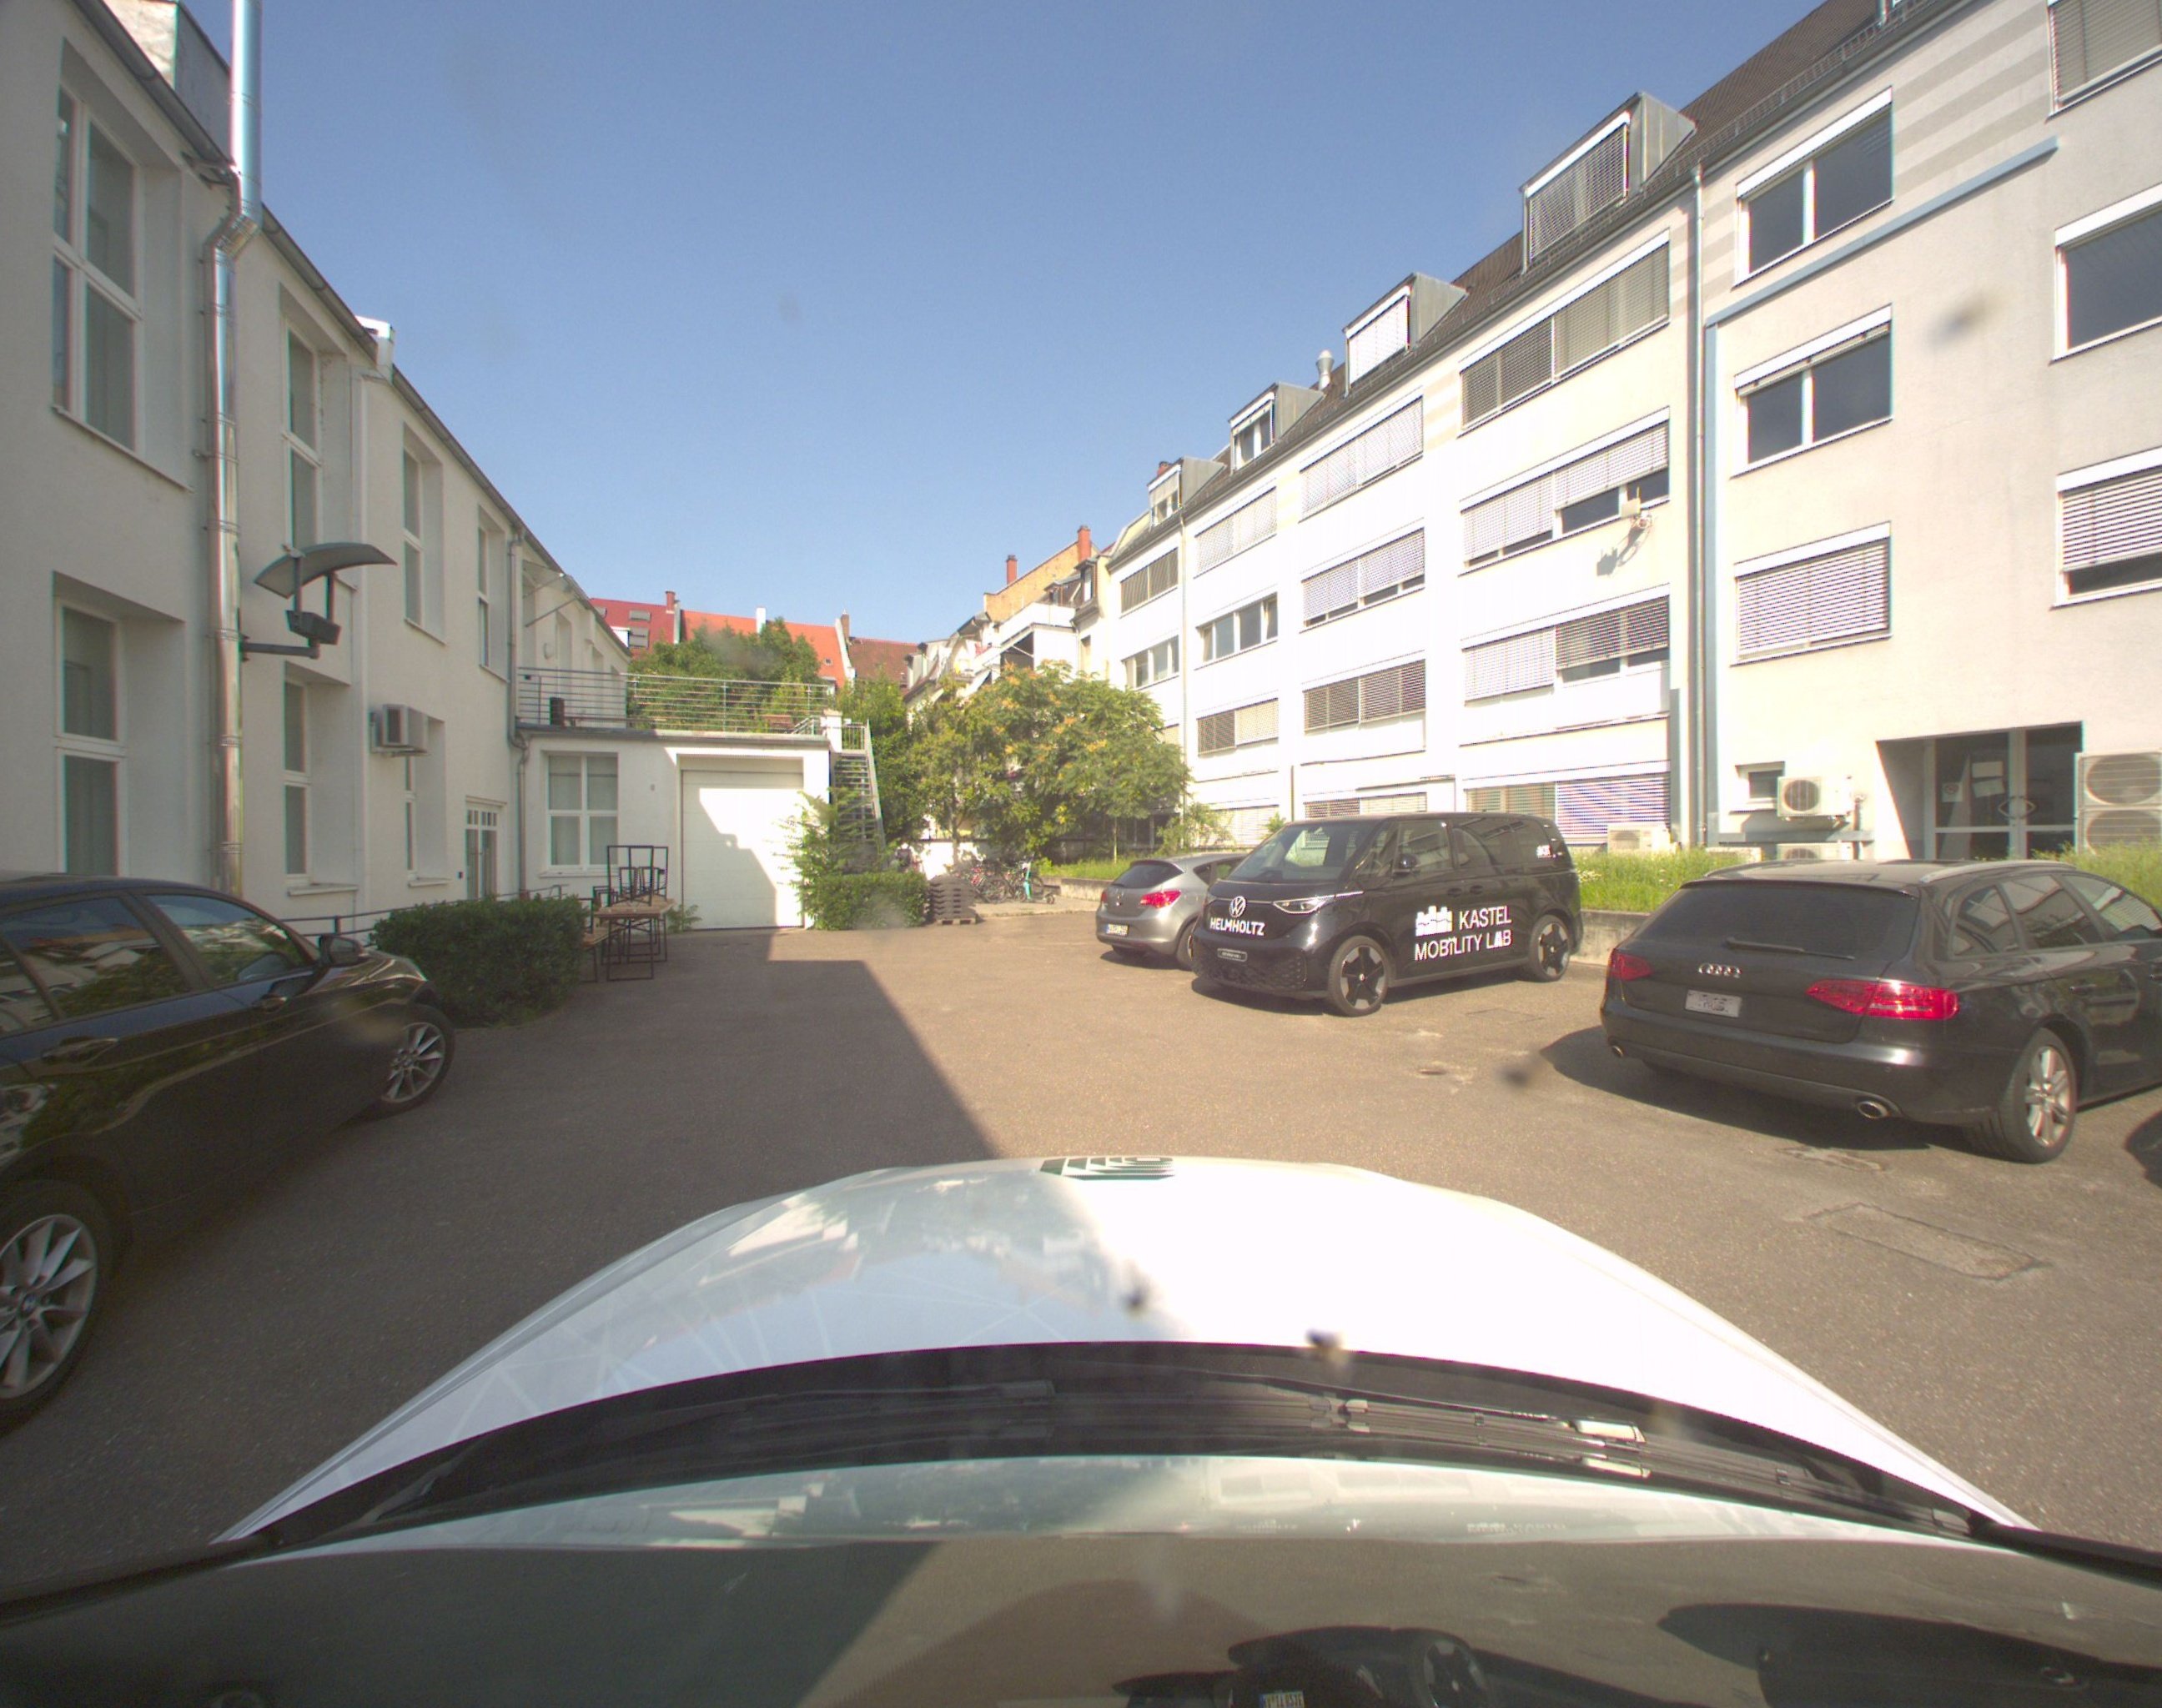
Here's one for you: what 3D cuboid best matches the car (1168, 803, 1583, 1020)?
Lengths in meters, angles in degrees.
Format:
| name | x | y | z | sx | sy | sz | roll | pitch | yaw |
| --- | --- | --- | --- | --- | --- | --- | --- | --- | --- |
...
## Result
| name | x | y | z | sx | sy | sz | roll | pitch | yaw |
| --- | --- | --- | --- | --- | --- | --- | --- | --- | --- |
| car | 3.279 | 0.445 | 8.881 | 4.362 | 1.858 | 1.896 | -1 | 1 | -30 |

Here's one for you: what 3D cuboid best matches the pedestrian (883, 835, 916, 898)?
| name | x | y | z | sx | sy | sz | roll | pitch | yaw |
| --- | --- | --- | --- | --- | --- | --- | --- | --- | --- |
| pedestrian | -5.201 | 0.340 | 23.341 | 0.861 | 1.771 | 0.607 | 0 | 0 | -19 |

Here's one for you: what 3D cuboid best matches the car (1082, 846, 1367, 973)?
| name | x | y | z | sx | sy | sz | roll | pitch | yaw |
| --- | --- | --- | --- | --- | --- | --- | --- | --- | --- |
| car | 2.098 | 0.646 | 11.494 | 3.924 | 1.466 | 1.645 | -1 | 1 | -34 |

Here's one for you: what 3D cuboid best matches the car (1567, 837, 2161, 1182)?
| name | x | y | z | sx | sy | sz | roll | pitch | yaw |
| --- | --- | --- | --- | --- | --- | --- | --- | --- | --- |
| car | 5.290 | 0.641 | 5.076 | 4.250 | 1.437 | 1.678 | -1 | 1 | -22 |

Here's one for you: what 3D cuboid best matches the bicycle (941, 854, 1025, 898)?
| name | x | y | z | sx | sy | sz | roll | pitch | yaw |
| --- | --- | --- | --- | --- | --- | --- | --- | --- | --- |
| bicycle | -2.872 | 0.633 | 23.955 | 2.419 | 1.246 | 0.523 | 0 | 0 | -21 |

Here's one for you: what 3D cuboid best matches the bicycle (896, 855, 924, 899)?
| name | x | y | z | sx | sy | sz | roll | pitch | yaw |
| --- | --- | --- | --- | --- | --- | --- | --- | --- | --- |
| bicycle | -4.918 | 0.639 | 23.364 | 0.490 | 1.143 | 1.981 | -2 | 1 | -20 |

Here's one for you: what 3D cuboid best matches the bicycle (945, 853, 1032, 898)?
| name | x | y | z | sx | sy | sz | roll | pitch | yaw |
| --- | --- | --- | --- | --- | --- | --- | --- | --- | --- |
| bicycle | -2.631 | 0.609 | 23.328 | 2.419 | 1.246 | 0.523 | 0 | 0 | -21 |

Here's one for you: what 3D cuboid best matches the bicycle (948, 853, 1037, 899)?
| name | x | y | z | sx | sy | sz | roll | pitch | yaw |
| --- | --- | --- | --- | --- | --- | --- | --- | --- | --- |
| bicycle | -2.473 | 0.599 | 22.735 | 2.419 | 1.246 | 0.523 | 0 | 0 | -21 |

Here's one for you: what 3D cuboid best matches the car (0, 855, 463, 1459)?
| name | x | y | z | sx | sy | sz | roll | pitch | yaw |
| --- | --- | --- | --- | --- | --- | --- | --- | --- | --- |
| car | -3.961 | 0.730 | 2.908 | 1.800 | 1.428 | 4.105 | 0 | 0 | -23 |

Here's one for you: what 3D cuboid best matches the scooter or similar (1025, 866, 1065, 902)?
| name | x | y | z | sx | sy | sz | roll | pitch | yaw |
| --- | --- | --- | --- | --- | --- | --- | --- | --- | --- |
| scooter or similar | -0.941 | 0.773 | 21.241 | 0.986 | 0.924 | 0.362 | 0 | 0 | 32 |

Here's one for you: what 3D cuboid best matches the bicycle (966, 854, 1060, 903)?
| name | x | y | z | sx | sy | sz | roll | pitch | yaw |
| --- | --- | --- | --- | --- | --- | --- | --- | --- | --- |
| bicycle | -1.785 | 0.621 | 21.382 | 2.419 | 1.246 | 0.523 | 0 | 0 | -21 |

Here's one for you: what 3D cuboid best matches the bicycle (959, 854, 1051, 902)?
| name | x | y | z | sx | sy | sz | roll | pitch | yaw |
| --- | --- | --- | --- | --- | --- | --- | --- | --- | --- |
| bicycle | -2.038 | 0.629 | 22.010 | 2.419 | 1.246 | 0.523 | 0 | 0 | -21 |
